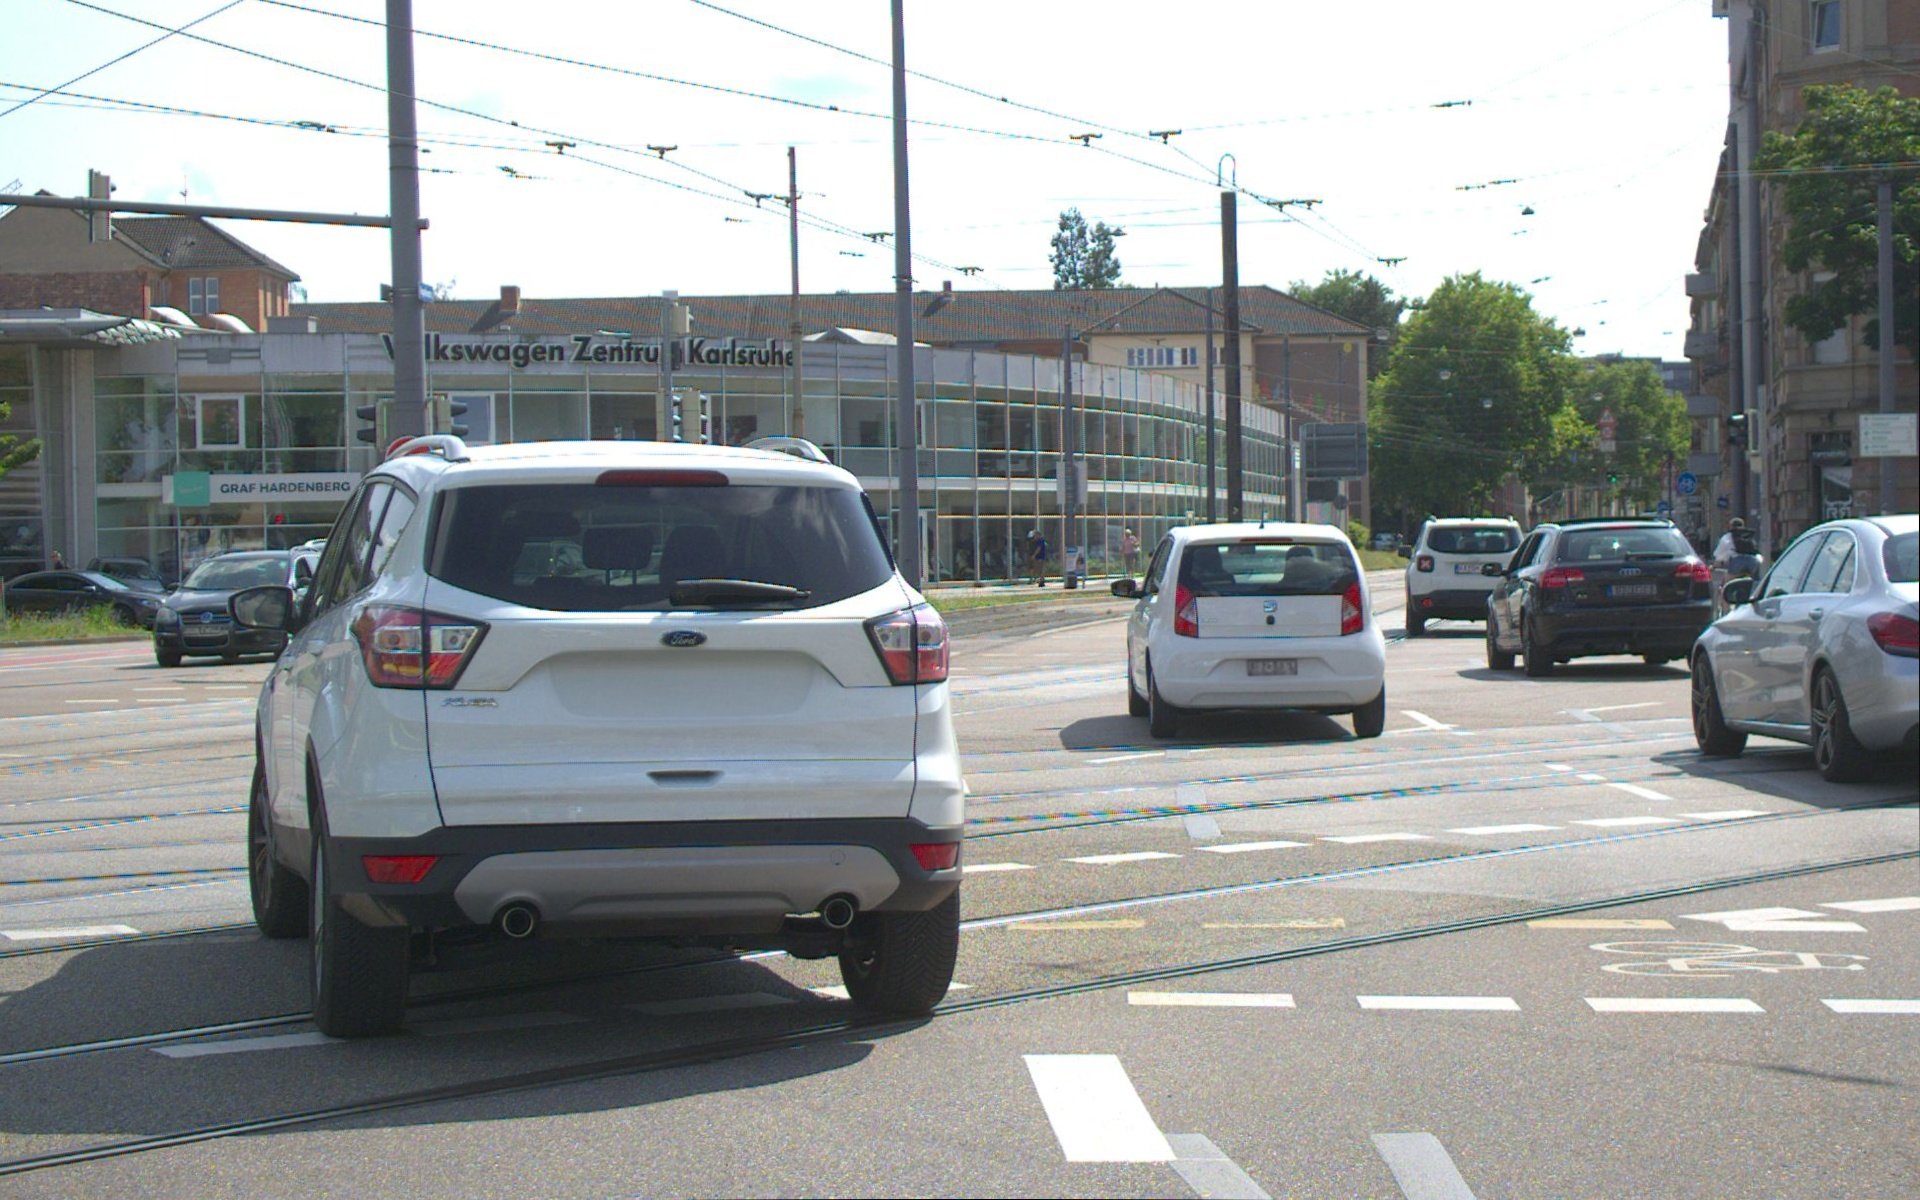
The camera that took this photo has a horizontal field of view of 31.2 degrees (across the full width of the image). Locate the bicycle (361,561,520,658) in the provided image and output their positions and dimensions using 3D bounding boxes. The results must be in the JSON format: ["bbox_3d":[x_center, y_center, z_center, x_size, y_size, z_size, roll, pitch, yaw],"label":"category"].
[{"bbox_3d":[-6.122,0.110,40.585,1.778,1.121,0.640,0,1,0],"label":"bicycle"}]

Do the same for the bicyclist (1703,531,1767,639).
[{"bbox_3d":[10.517,-0.207,46.659,0.608,1.446,0.774,-1,1,-6],"label":"bicyclist"}]

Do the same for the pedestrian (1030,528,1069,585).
[{"bbox_3d":[2.780,-1.347,106.260,0.876,1.731,0.875,1,0,28],"label":"pedestrian"}]

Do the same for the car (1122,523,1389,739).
[{"bbox_3d":[2.077,0.166,25.077,1.649,1.417,4.000,-1,1,1],"label":"car"}]

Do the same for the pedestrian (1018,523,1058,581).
[{"bbox_3d":[2.370,-1.453,104.498,0.876,1.731,0.875,1,0,28],"label":"pedestrian"}]

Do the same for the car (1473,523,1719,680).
[{"bbox_3d":[5.948,-0.021,32.541,1.699,1.367,4.133,-1,1,2],"label":"car"}]

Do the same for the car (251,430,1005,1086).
[{"bbox_3d":[-1.236,0.363,10.855,1.826,1.658,3.957,-1,1,-13],"label":"car"}]

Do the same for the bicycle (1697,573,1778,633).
[{"bbox_3d":[10.545,0.034,46.675,0.584,0.773,1.621,-1,1,-6],"label":"bicycle"}]

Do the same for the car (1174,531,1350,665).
[{"bbox_3d":[3.325,-0.040,38.199,1.850,1.414,3.678,0,1,4],"label":"car"}]

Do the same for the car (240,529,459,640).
[{"bbox_3d":[-9.337,-0.268,52.883,1.738,1.568,3.997,-2,1,15],"label":"car"}]

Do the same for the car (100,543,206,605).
[{"bbox_3d":[-21.428,-0.688,91.371,1.818,1.528,3.917,-2,0,0],"label":"car"}]

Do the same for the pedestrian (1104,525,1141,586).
[{"bbox_3d":[5.205,-1.416,110.078,0.876,1.916,0.875,1,0,26],"label":"pedestrian"}]

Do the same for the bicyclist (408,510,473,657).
[{"bbox_3d":[-6.133,-0.201,40.610,0.660,1.732,0.640,0,1,0],"label":"bicyclist"}]

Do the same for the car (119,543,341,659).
[{"bbox_3d":[-9.465,-0.015,44.855,1.738,1.368,3.641,-2,1,6],"label":"car"}]

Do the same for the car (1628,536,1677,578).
[{"bbox_3d":[27.969,-1.712,138.793,1.837,1.646,3.998,0,0,13],"label":"car"}]

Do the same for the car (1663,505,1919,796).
[{"bbox_3d":[5.458,0.208,19.546,1.930,1.450,4.759,0,1,0],"label":"car"}]

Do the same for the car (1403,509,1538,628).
[{"bbox_3d":[7.305,-0.439,49.441,1.837,1.646,3.999,0,0,7],"label":"car"}]

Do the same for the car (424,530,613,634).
[{"bbox_3d":[-6.692,-0.303,52.470,1.690,1.456,3.967,-2,1,10],"label":"car"}]
